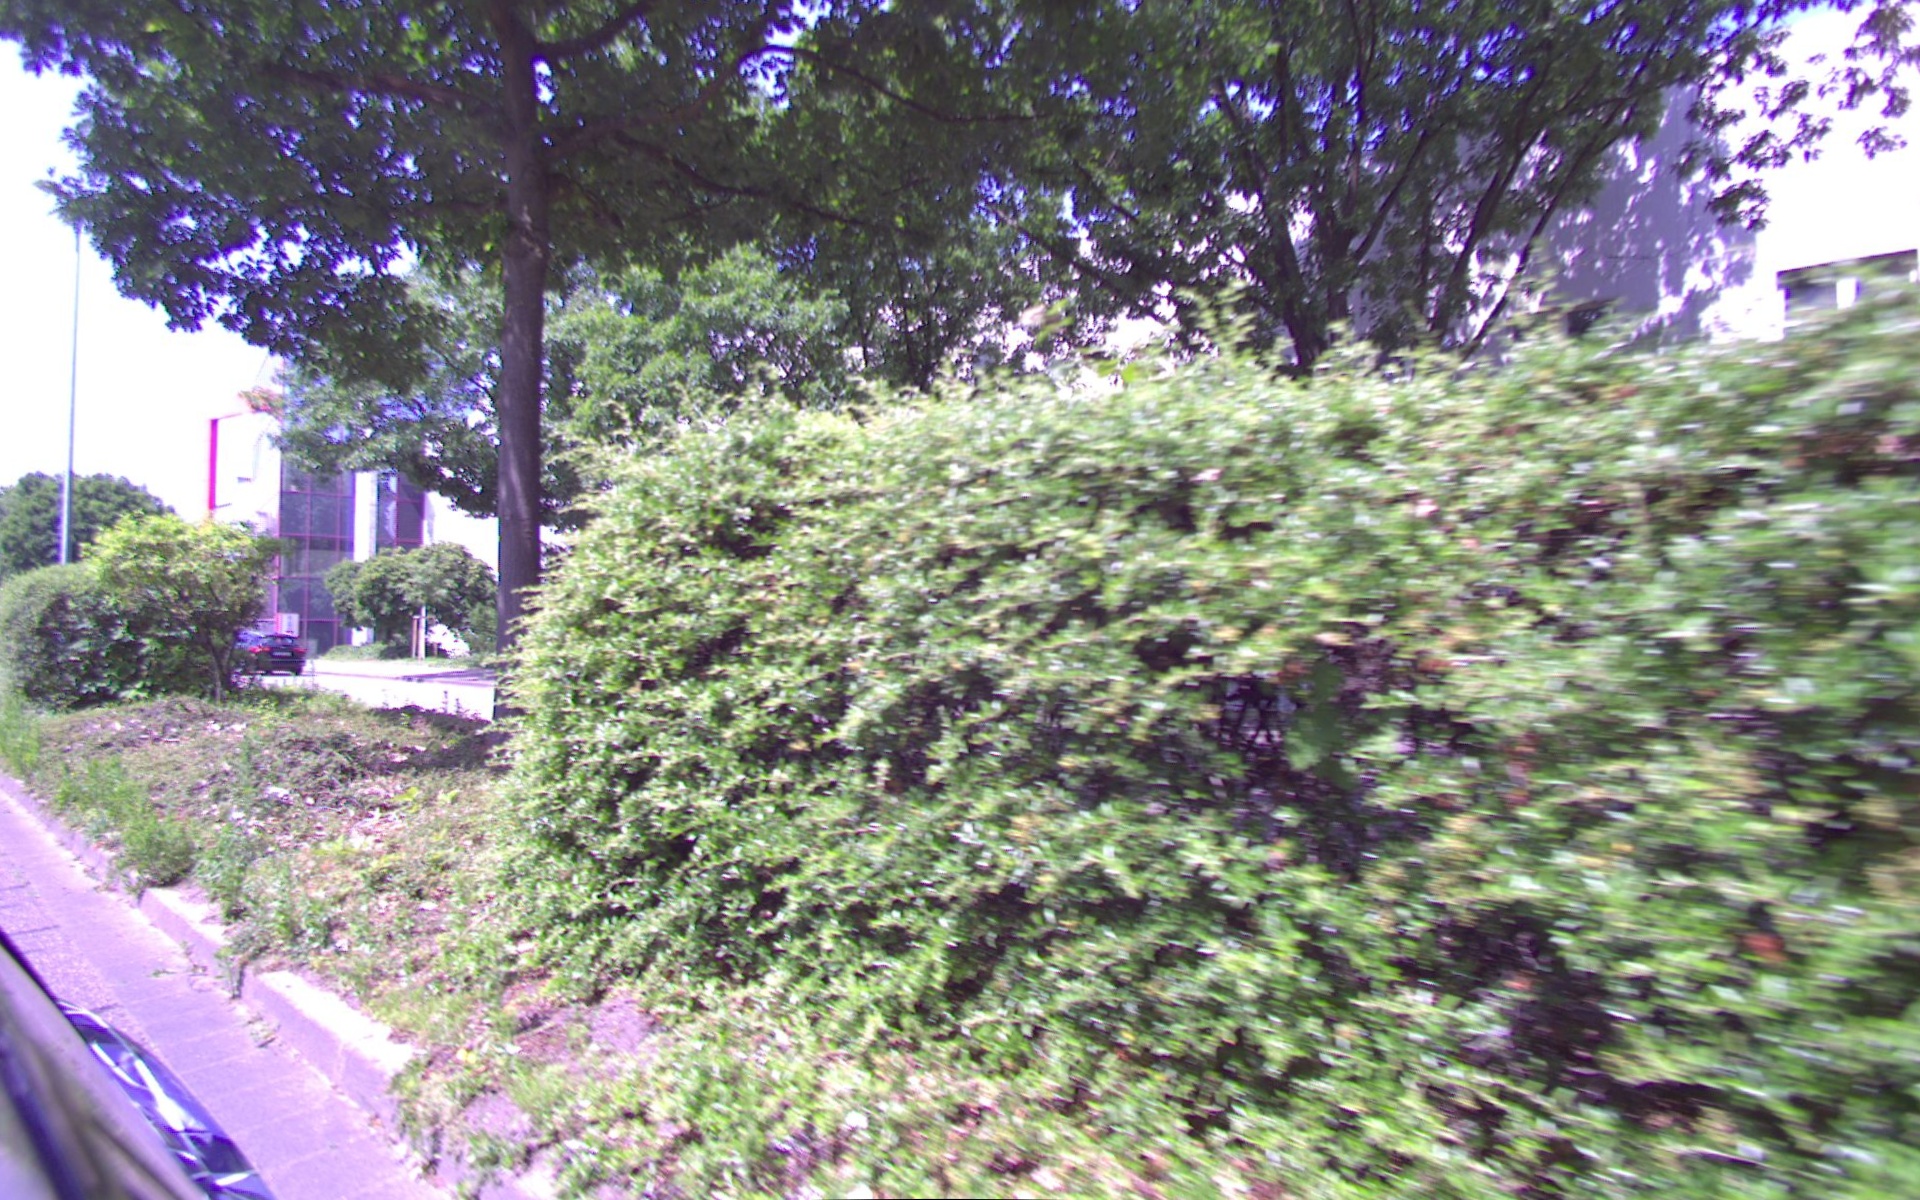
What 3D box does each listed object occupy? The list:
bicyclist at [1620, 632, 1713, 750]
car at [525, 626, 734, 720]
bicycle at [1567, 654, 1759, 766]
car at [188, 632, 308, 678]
[{"bbox_3d":[8.107,1.015,11.615,0.812,1.262,0.637,-1,-1,41],"label":"bicyclist"},{"bbox_3d":[-6.541,1.367,19.787,4.517,1.648,1.802,-2,-4,41],"label":"car"},{"bbox_3d":[8.046,1.224,11.636,1.761,1.128,0.516,-1,-1,41],"label":"bicycle"},{"bbox_3d":[-24.582,1.881,34.873,5.238,1.462,2.104,-2,-4,41],"label":"car"}]
